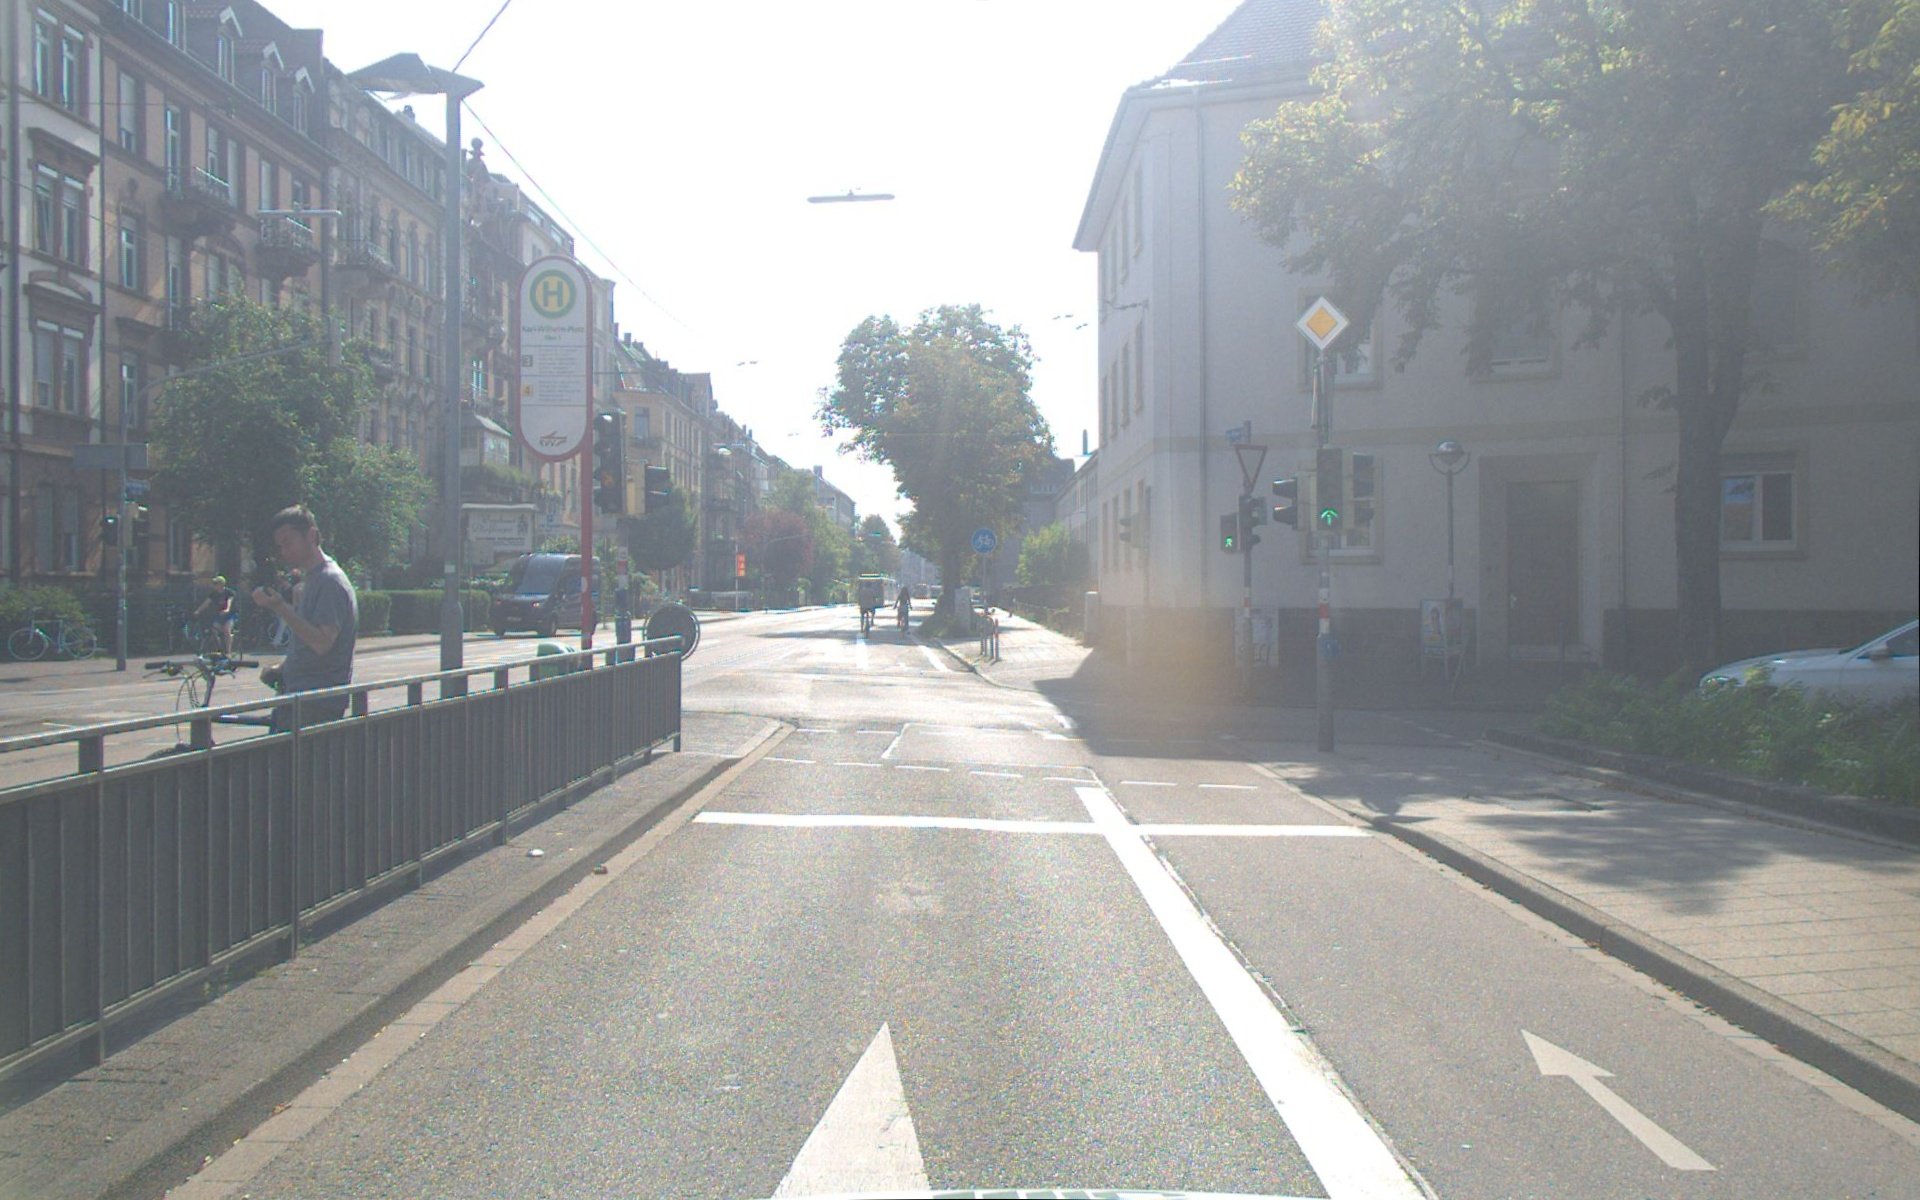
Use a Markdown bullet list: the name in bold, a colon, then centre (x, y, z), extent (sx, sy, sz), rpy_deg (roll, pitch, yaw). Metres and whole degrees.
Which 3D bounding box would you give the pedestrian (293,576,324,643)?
- **pedestrian**: centre (-16.696, 0.230, 42.383), extent (0.625, 1.708, 0.632), rpy_deg (0, 0, -12)

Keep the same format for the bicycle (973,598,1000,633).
- **bicycle**: centre (0.876, 0.507, 54.898), extent (0.756, 1.123, 2.332), rpy_deg (0, 0, -2)

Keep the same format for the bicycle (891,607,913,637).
- **bicycle**: centre (-1.849, 0.701, 52.896), extent (0.641, 0.925, 1.774), rpy_deg (2, 0, -1)

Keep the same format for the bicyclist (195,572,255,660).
- **bicyclist**: centre (-13.939, 0.294, 31.393), extent (0.659, 1.642, 1.044), rpy_deg (0, 0, 2)

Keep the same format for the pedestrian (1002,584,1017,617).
- **pedestrian**: centre (2.718, 0.009, 90.650), extent (0.736, 1.779, 0.879), rpy_deg (0, 0, 6)

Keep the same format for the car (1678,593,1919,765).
- **car**: centre (9.618, 0.721, 15.638), extent (4.863, 1.494, 1.867), rpy_deg (0, 3, 41)

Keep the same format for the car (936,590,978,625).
- **car**: centre (-0.112, 0.341, 78.634), extent (1.610, 1.567, 3.844), rpy_deg (-2, 0, 5)

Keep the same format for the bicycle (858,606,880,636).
- **bicycle**: centre (-2.952, 0.671, 53.596), extent (0.613, 0.925, 1.525), rpy_deg (2, 0, -1)

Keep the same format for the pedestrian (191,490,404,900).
- **pedestrian**: centre (-3.043, 0.413, 7.667), extent (0.675, 1.797, 0.796), rpy_deg (0, 0, -1)

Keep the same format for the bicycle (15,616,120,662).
- **bicycle**: centre (-18.070, 0.785, 33.513), extent (0.518, 0.875, 1.820), rpy_deg (0, 1, 38)

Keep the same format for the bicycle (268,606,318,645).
- **bicycle**: centre (-16.859, 0.628, 41.832), extent (0.515, 0.943, 1.703), rpy_deg (0, 0, 3)

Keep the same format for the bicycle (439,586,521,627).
- **bicycle**: centre (-18.153, 0.234, 62.543), extent (2.820, 1.480, 0.996), rpy_deg (1, 0, -7)

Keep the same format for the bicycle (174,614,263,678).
- **bicycle**: centre (-13.950, 0.848, 31.180), extent (0.670, 1.123, 2.070), rpy_deg (0, 0, 2)

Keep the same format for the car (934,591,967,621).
- **car**: centre (-0.473, 0.312, 86.524), extent (1.611, 1.473, 4.246), rpy_deg (-2, 0, 0)

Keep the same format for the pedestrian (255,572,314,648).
- **pedestrian**: centre (-16.266, 0.237, 39.832), extent (0.886, 1.797, 1.186), rpy_deg (0, 0, 3)

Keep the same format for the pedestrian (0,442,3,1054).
- **pedestrian**: centre (-3.182, 0.436, 4.512), extent (0.752, 1.791, 0.680), rpy_deg (0, 0, -1)

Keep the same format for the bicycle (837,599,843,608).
- **bicycle**: centre (-15.476, 0.449, 212.860), extent (0.549, 1.242, 2.114), rpy_deg (0, 0, 2)

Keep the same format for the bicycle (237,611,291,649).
- **bicycle**: centre (-16.888, 0.710, 40.138), extent (0.515, 0.875, 1.703), rpy_deg (0, 0, 3)

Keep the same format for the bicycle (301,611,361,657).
- **bicycle**: centre (-14.857, 0.787, 39.118), extent (0.606, 1.024, 2.150), rpy_deg (0, 0, 0)

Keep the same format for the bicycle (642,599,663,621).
- **bicycle**: centre (-15.539, 0.510, 83.543), extent (0.594, 1.076, 1.840), rpy_deg (4, 0, 2)

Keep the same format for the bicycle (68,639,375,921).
- **bicycle**: centre (-3.401, 0.773, 7.786), extent (0.462, 1.123, 1.739), rpy_deg (0, 0, 8)

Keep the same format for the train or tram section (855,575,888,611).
- **train or tram section**: centre (-9.138, -0.669, 171.746), extent (2.679, 3.567, 15.431), rpy_deg (0, 0, -1)

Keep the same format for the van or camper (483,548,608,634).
- **van or camper**: centre (-13.845, -0.263, 55.641), extent (2.007, 2.691, 6.094), rpy_deg (-1, 0, 7)

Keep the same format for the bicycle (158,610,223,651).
- **bicycle**: centre (-17.300, 0.669, 37.226), extent (0.515, 0.875, 1.829), rpy_deg (0, 0, 3)

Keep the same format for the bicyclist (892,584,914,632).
- **bicyclist**: centre (-1.828, 0.245, 52.883), extent (0.641, 1.499, 0.908), rpy_deg (2, 0, -1)

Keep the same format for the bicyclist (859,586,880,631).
- **bicyclist**: centre (-2.934, 0.272, 53.608), extent (0.614, 1.425, 0.929), rpy_deg (2, 0, -1)

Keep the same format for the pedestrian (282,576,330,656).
- **pedestrian**: centre (-15.342, 0.370, 38.795), extent (0.713, 1.838, 1.093), rpy_deg (0, 0, -2)
